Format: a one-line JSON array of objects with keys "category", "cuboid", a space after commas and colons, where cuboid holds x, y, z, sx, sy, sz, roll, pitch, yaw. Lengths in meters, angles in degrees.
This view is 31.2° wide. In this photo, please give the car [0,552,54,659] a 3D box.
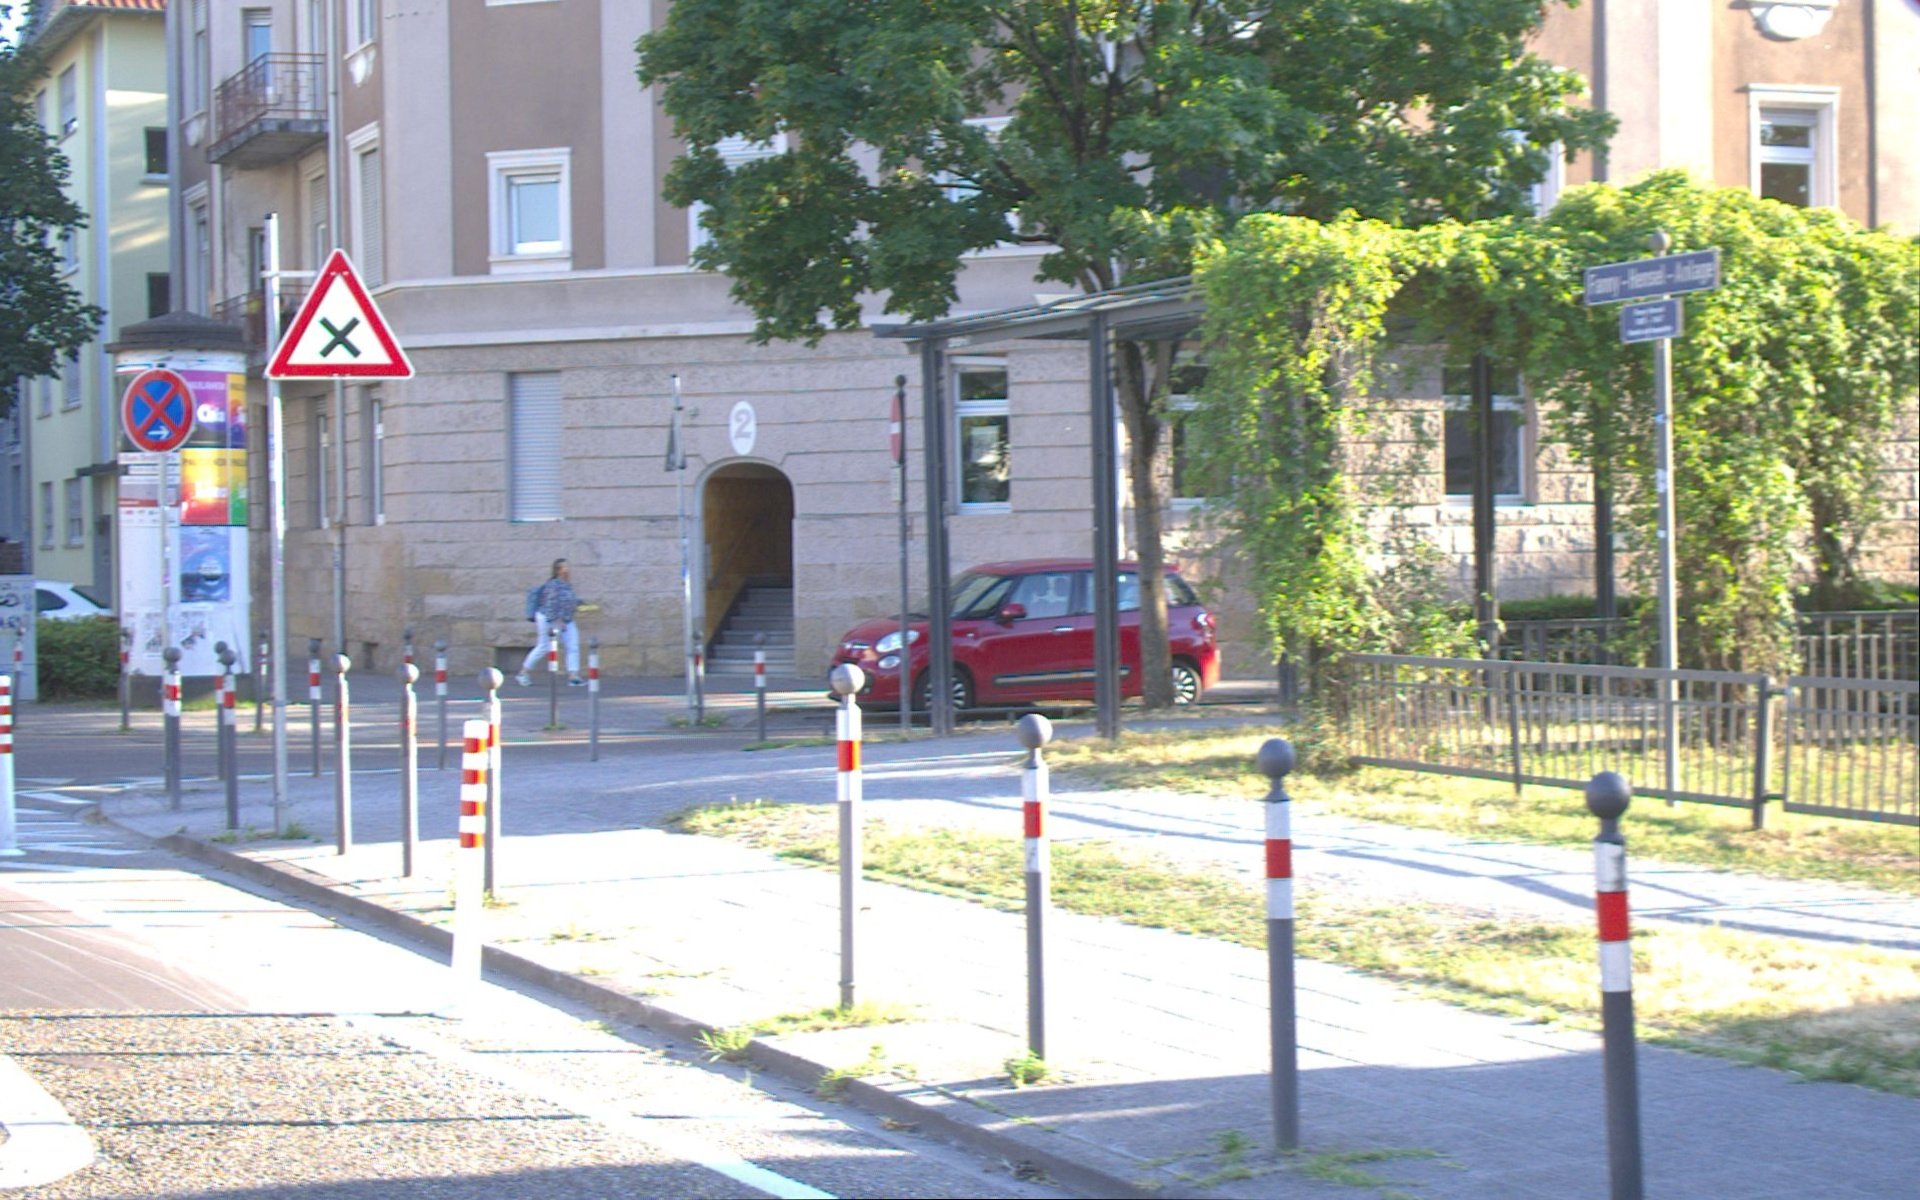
[{"category": "car", "cuboid": [-15.969, 0.148, 51.071, 4.476, 1.520, 1.954, -3, 3, -28]}]

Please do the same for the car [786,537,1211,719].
[{"category": "car", "cuboid": [0.397, 0.256, 36.077, 4.073, 1.734, 1.812, -1, 3, -21]}]

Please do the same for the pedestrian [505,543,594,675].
[{"category": "pedestrian", "cuboid": [-4.978, 0.099, 41.675, 0.819, 1.539, 0.742, 2, 3, 15]}]

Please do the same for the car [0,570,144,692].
[{"category": "car", "cuboid": [-12.749, 0.412, 44.318, 4.047, 1.500, 1.862, -2, 1, -24]}]

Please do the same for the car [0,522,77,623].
[{"category": "car", "cuboid": [-17.015, -0.414, 56.612, 4.525, 1.635, 1.874, -2, 1, -24]}]

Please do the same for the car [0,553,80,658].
[{"category": "car", "cuboid": [-14.778, 0.122, 48.841, 4.142, 1.443, 1.673, -3, 2, -24]}]
